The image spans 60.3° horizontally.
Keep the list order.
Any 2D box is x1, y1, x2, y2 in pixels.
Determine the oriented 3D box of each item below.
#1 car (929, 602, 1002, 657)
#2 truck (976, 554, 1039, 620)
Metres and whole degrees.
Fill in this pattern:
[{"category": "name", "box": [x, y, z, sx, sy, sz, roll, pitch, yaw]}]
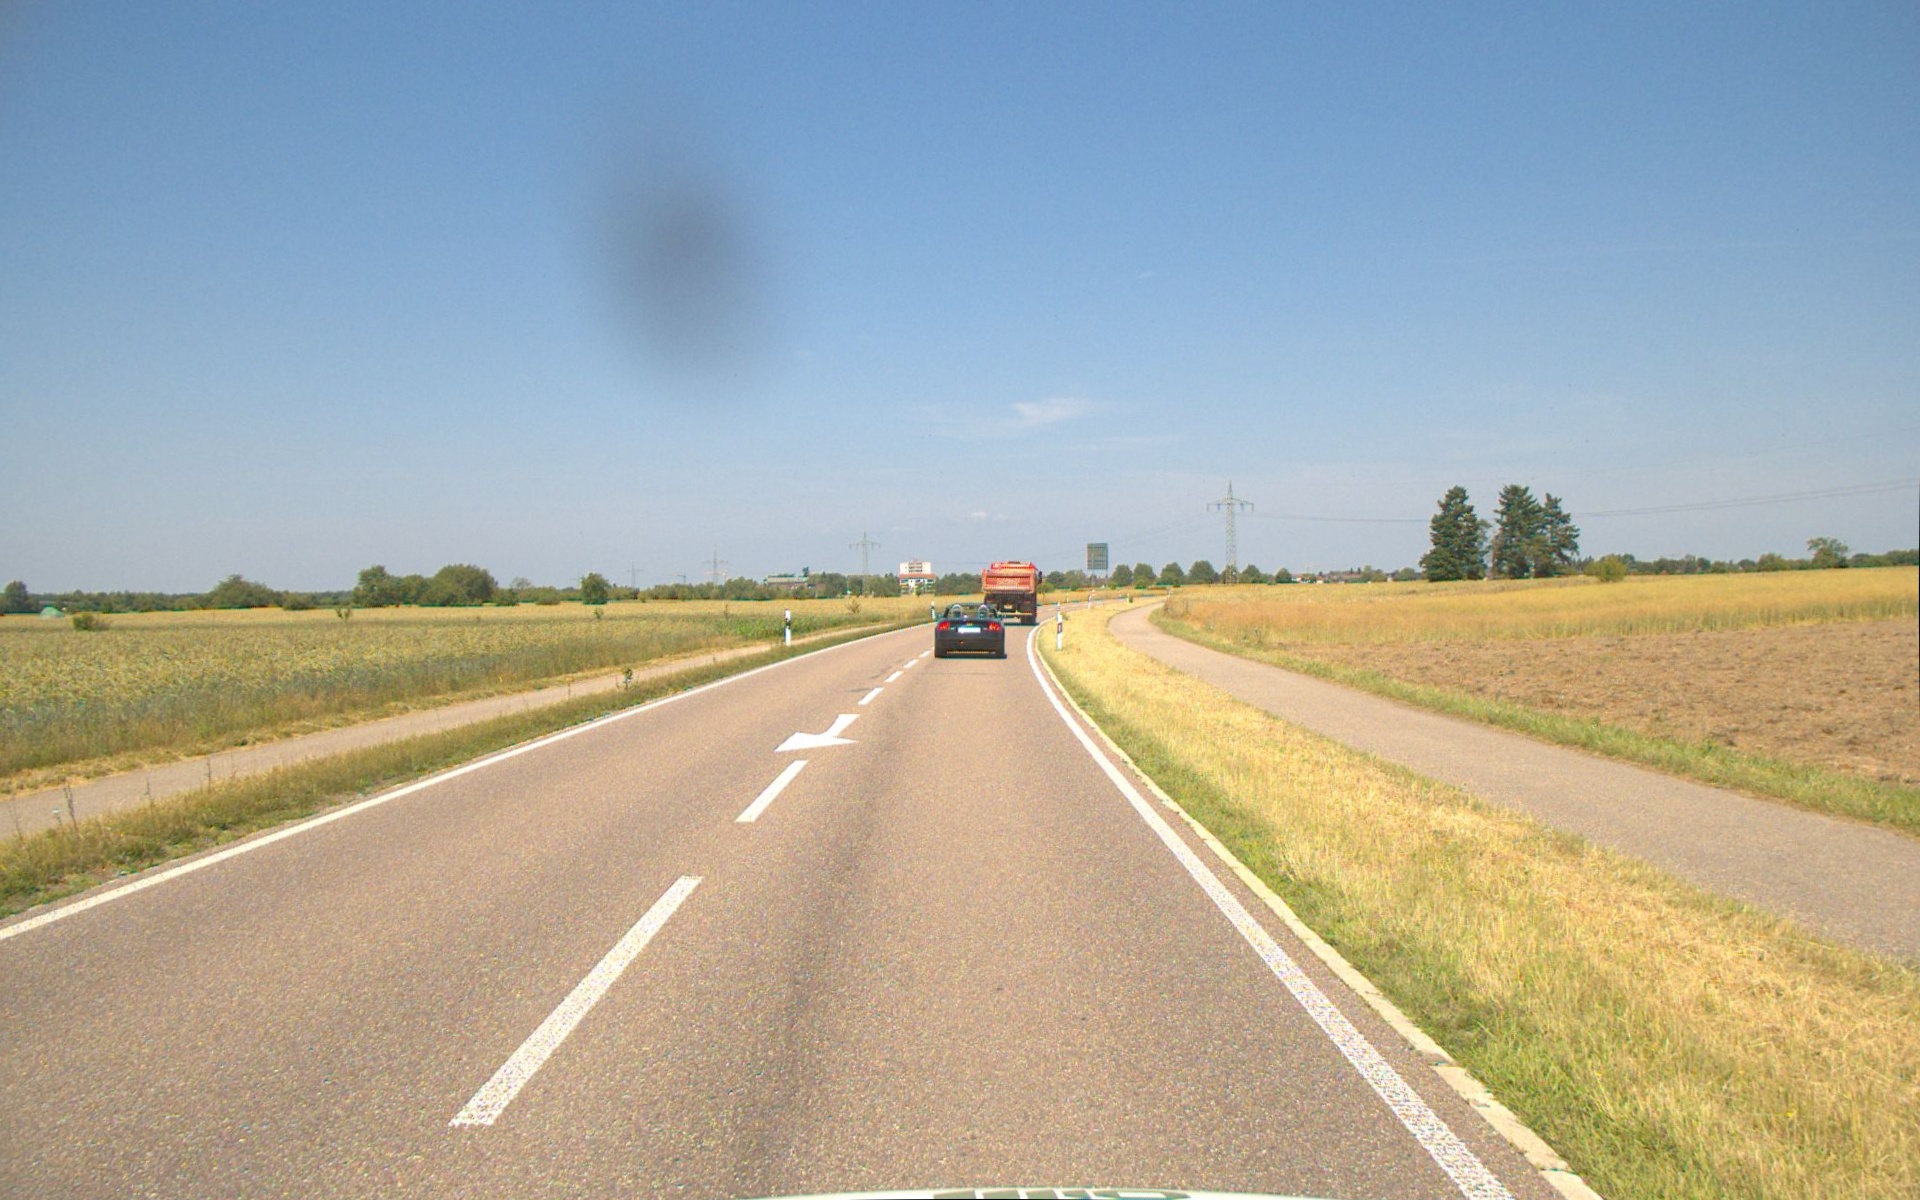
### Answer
[{"category": "car", "box": [0.183, 0.709, 41.118, 1.708, 1.302, 4.001, 0, 0, 2]}, {"category": "truck", "box": [2.442, -0.603, 82.144, 2.876, 3.143, 7.199, 0, 0, 3]}]
